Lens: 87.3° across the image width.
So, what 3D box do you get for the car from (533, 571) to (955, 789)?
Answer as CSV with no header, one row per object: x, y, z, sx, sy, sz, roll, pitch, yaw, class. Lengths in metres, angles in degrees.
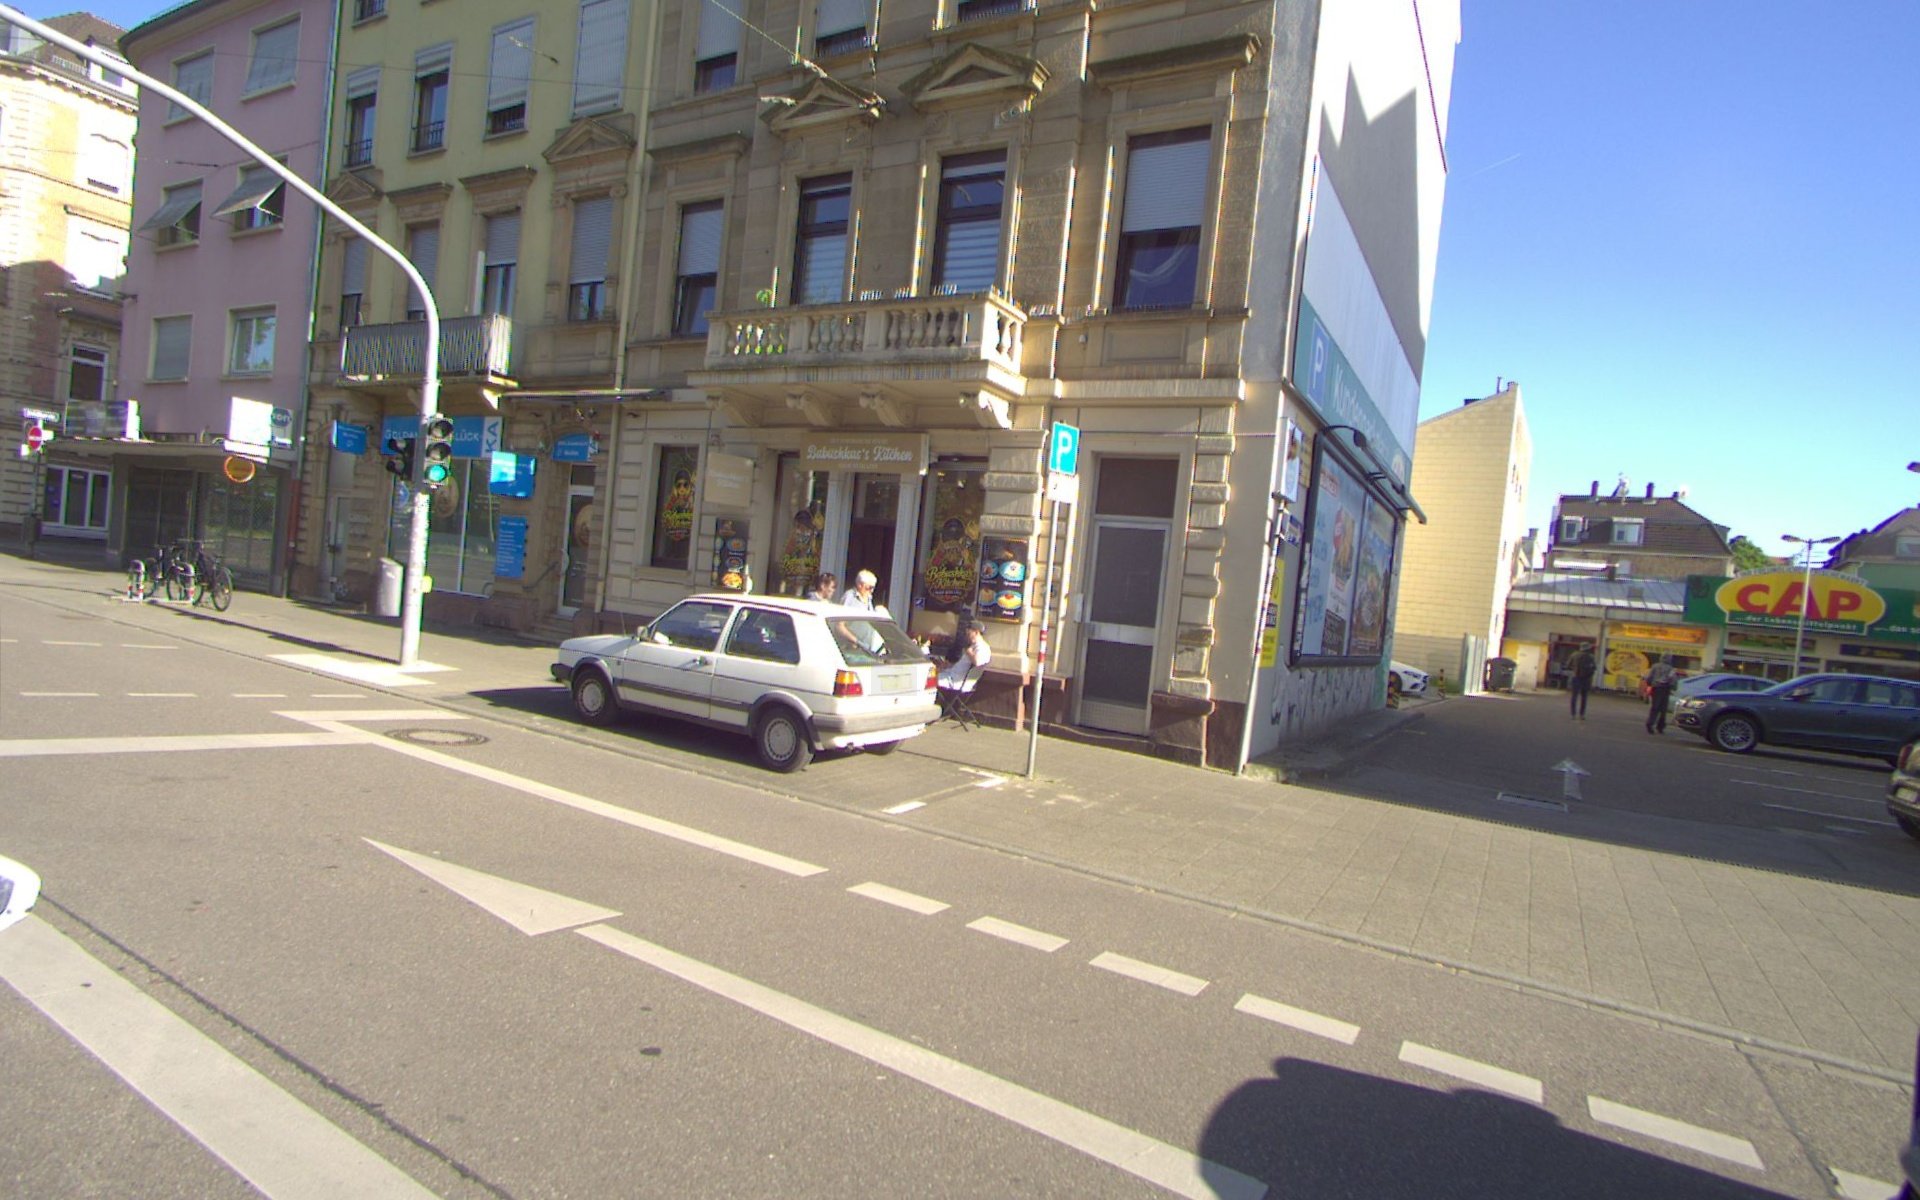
-2.167,0.612,9.695,3.937,1.435,1.562,6,4,32,car

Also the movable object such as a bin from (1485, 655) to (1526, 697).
22.183,3.066,40.929,1.258,1.527,1.174,6,1,32,movable object such as a bin

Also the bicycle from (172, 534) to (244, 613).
-12.761,-0.456,17.053,1.731,1.174,0.448,7,1,37,bicycle

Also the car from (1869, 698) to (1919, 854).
11.275,1.945,9.671,3.336,1.504,1.561,6,0,28,car

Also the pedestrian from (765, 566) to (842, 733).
-1.685,0.534,10.864,0.382,1.730,0.550,7,1,34,pedestrian

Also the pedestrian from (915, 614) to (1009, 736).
0.030,0.846,11.672,0.644,1.298,0.902,6,2,26,pedestrian

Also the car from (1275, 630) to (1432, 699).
11.510,1.854,29.453,3.933,1.482,1.756,6,0,31,car

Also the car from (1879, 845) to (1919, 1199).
4.267,1.291,1.182,4.304,1.546,1.701,6,-1,28,car

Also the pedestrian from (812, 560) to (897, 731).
-1.181,0.498,11.311,0.522,1.831,0.673,7,4,31,pedestrian

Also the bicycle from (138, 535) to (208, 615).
-13.030,-0.430,16.629,1.782,1.155,0.414,6,0,38,bicycle

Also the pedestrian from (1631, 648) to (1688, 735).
15.083,1.956,21.703,0.748,1.778,0.513,6,1,22,pedestrian

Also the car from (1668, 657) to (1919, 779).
15.968,2.171,18.695,4.309,1.687,1.756,6,1,31,car

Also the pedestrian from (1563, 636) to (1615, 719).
15.005,1.844,24.031,0.748,1.865,0.747,6,1,22,pedestrian

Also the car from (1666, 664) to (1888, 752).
20.163,2.622,25.065,3.933,1.538,1.723,6,1,31,car
